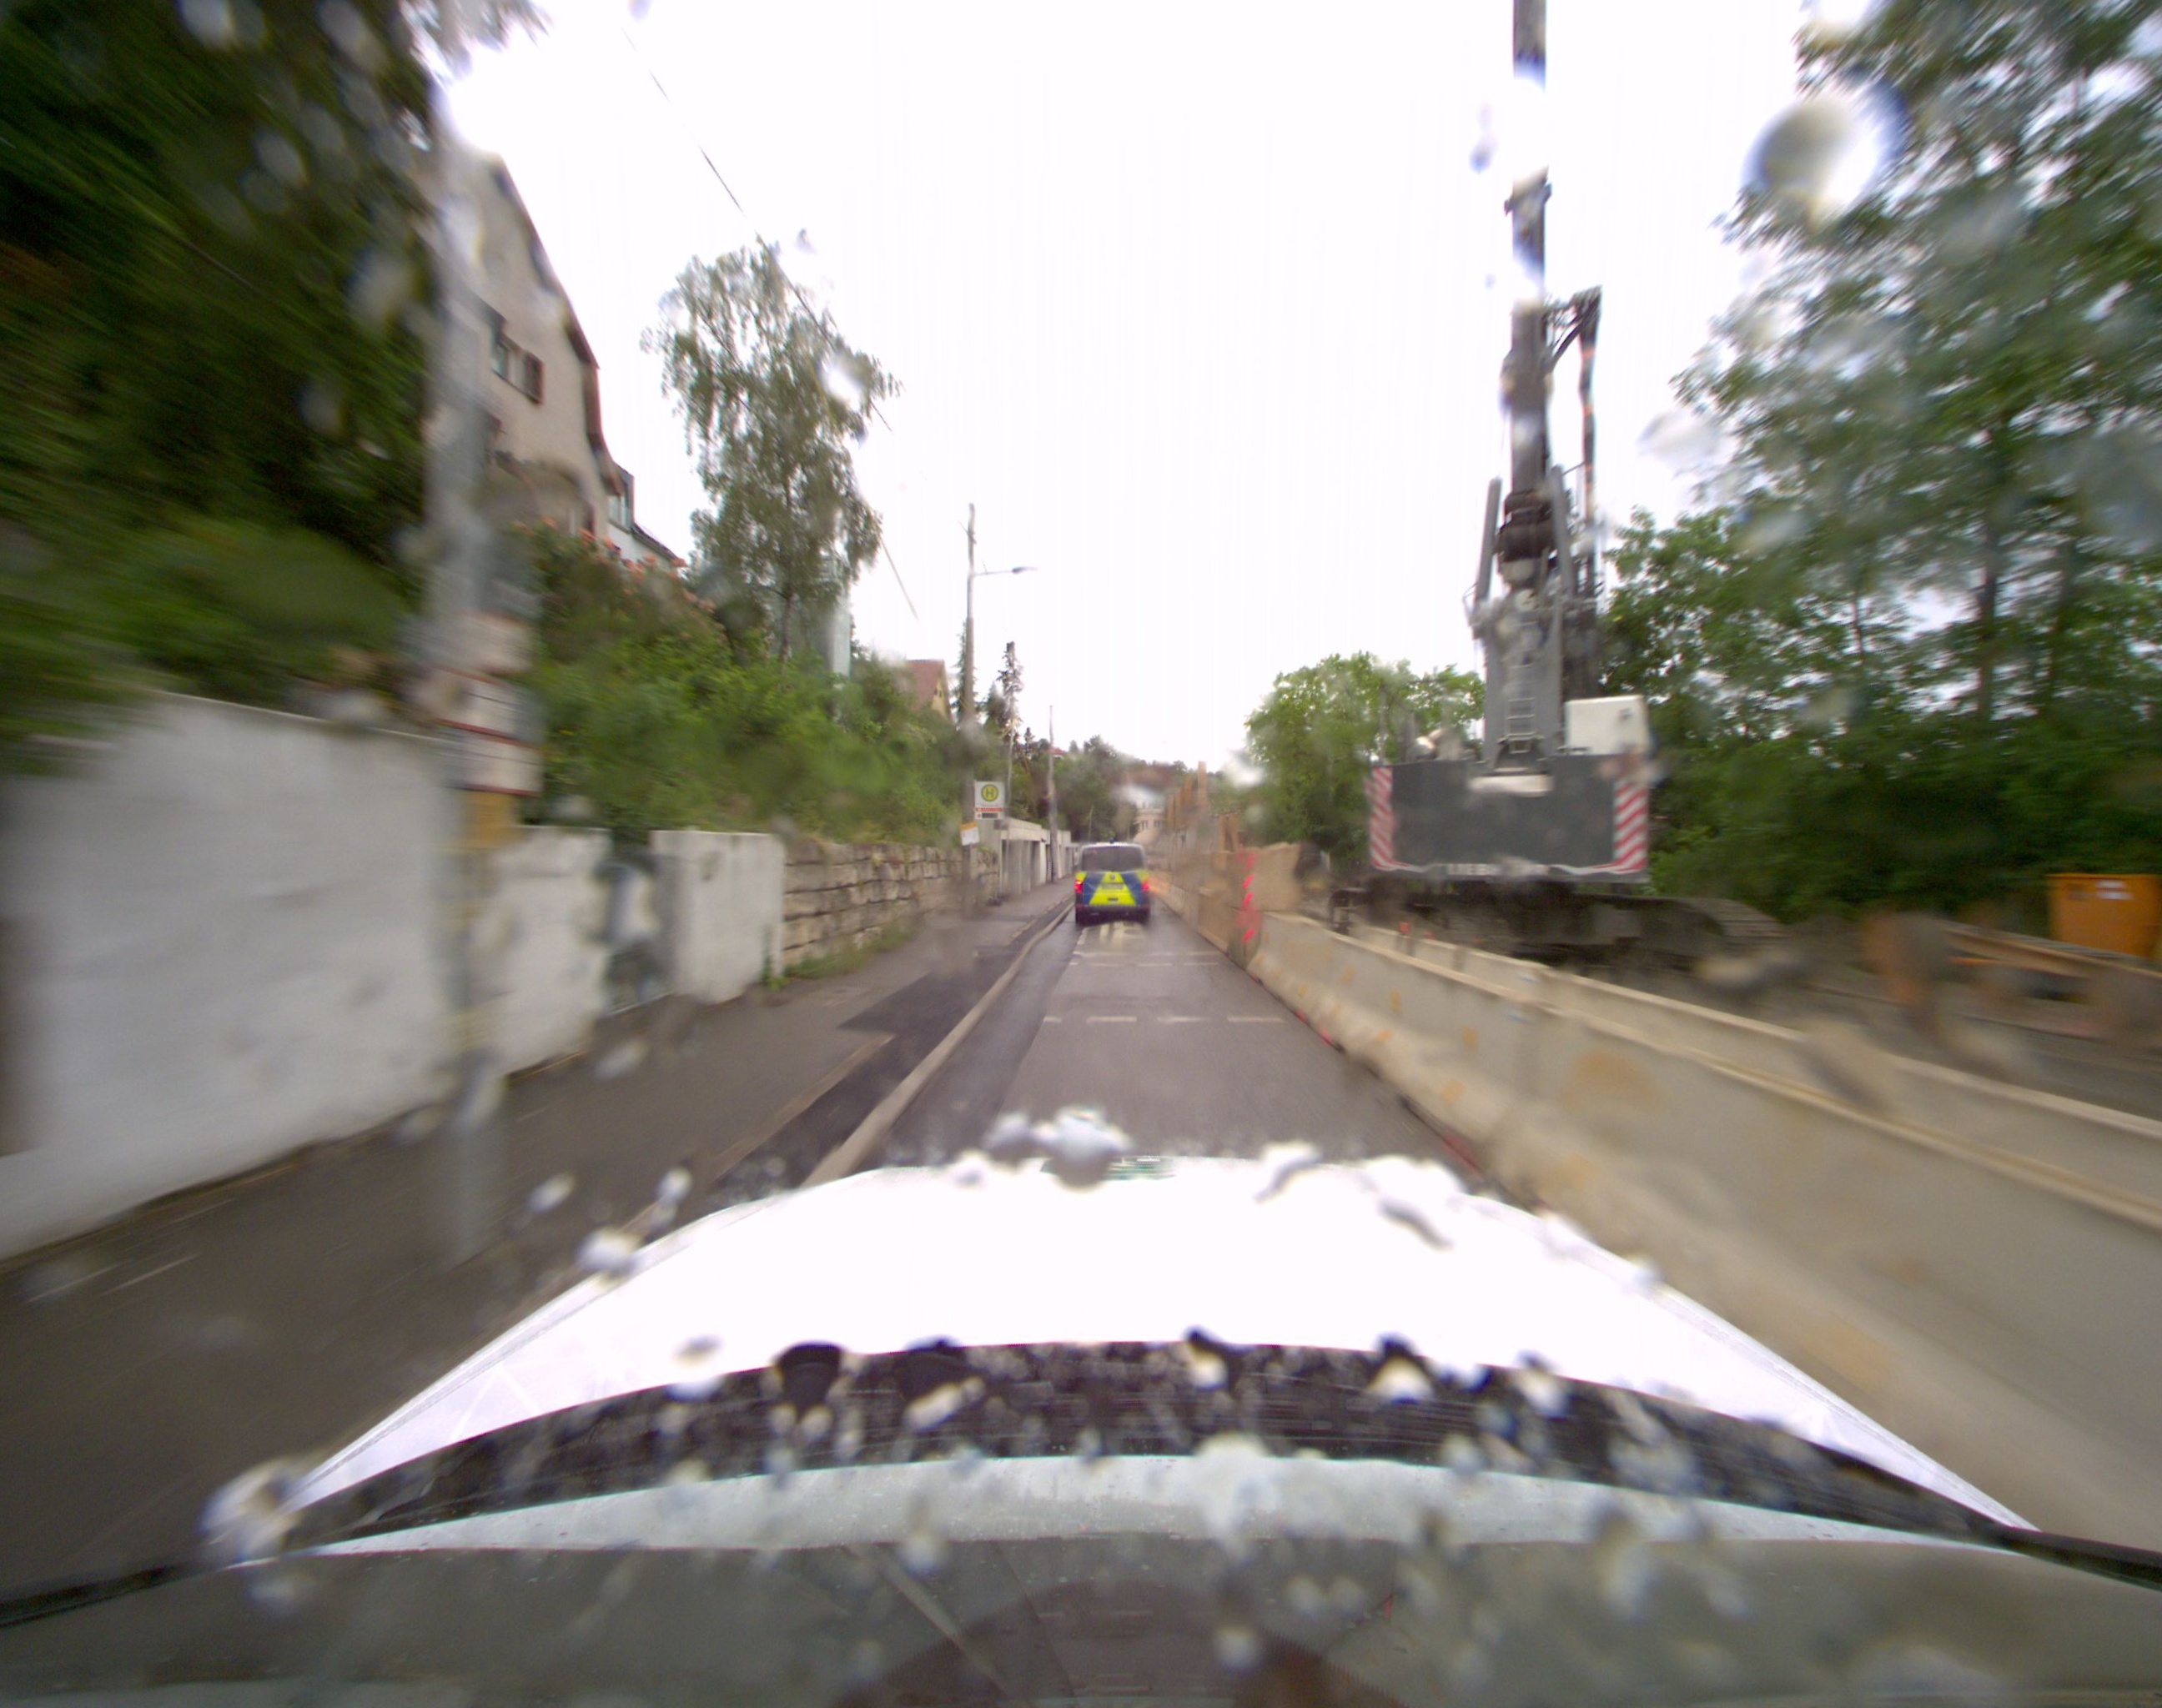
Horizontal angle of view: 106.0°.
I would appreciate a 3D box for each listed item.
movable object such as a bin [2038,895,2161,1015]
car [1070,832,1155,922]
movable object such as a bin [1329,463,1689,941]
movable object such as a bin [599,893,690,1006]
[{"bbox_3d":[12.099,1.159,9.561,0.752,1.309,0.843,2,-1,2],"label":"movable object such as a bin"},{"bbox_3d":[0.791,0.563,20.893,1.901,2.010,4.441,2,-1,2],"label":"car"},{"bbox_3d":[6.568,-1.538,12.608,3.647,5.067,7.206,-1,-1,30],"label":"movable object such as a bin"},{"bbox_3d":[-3.952,0.848,7.407,0.505,0.965,0.498,2,-1,2],"label":"movable object such as a bin"}]
